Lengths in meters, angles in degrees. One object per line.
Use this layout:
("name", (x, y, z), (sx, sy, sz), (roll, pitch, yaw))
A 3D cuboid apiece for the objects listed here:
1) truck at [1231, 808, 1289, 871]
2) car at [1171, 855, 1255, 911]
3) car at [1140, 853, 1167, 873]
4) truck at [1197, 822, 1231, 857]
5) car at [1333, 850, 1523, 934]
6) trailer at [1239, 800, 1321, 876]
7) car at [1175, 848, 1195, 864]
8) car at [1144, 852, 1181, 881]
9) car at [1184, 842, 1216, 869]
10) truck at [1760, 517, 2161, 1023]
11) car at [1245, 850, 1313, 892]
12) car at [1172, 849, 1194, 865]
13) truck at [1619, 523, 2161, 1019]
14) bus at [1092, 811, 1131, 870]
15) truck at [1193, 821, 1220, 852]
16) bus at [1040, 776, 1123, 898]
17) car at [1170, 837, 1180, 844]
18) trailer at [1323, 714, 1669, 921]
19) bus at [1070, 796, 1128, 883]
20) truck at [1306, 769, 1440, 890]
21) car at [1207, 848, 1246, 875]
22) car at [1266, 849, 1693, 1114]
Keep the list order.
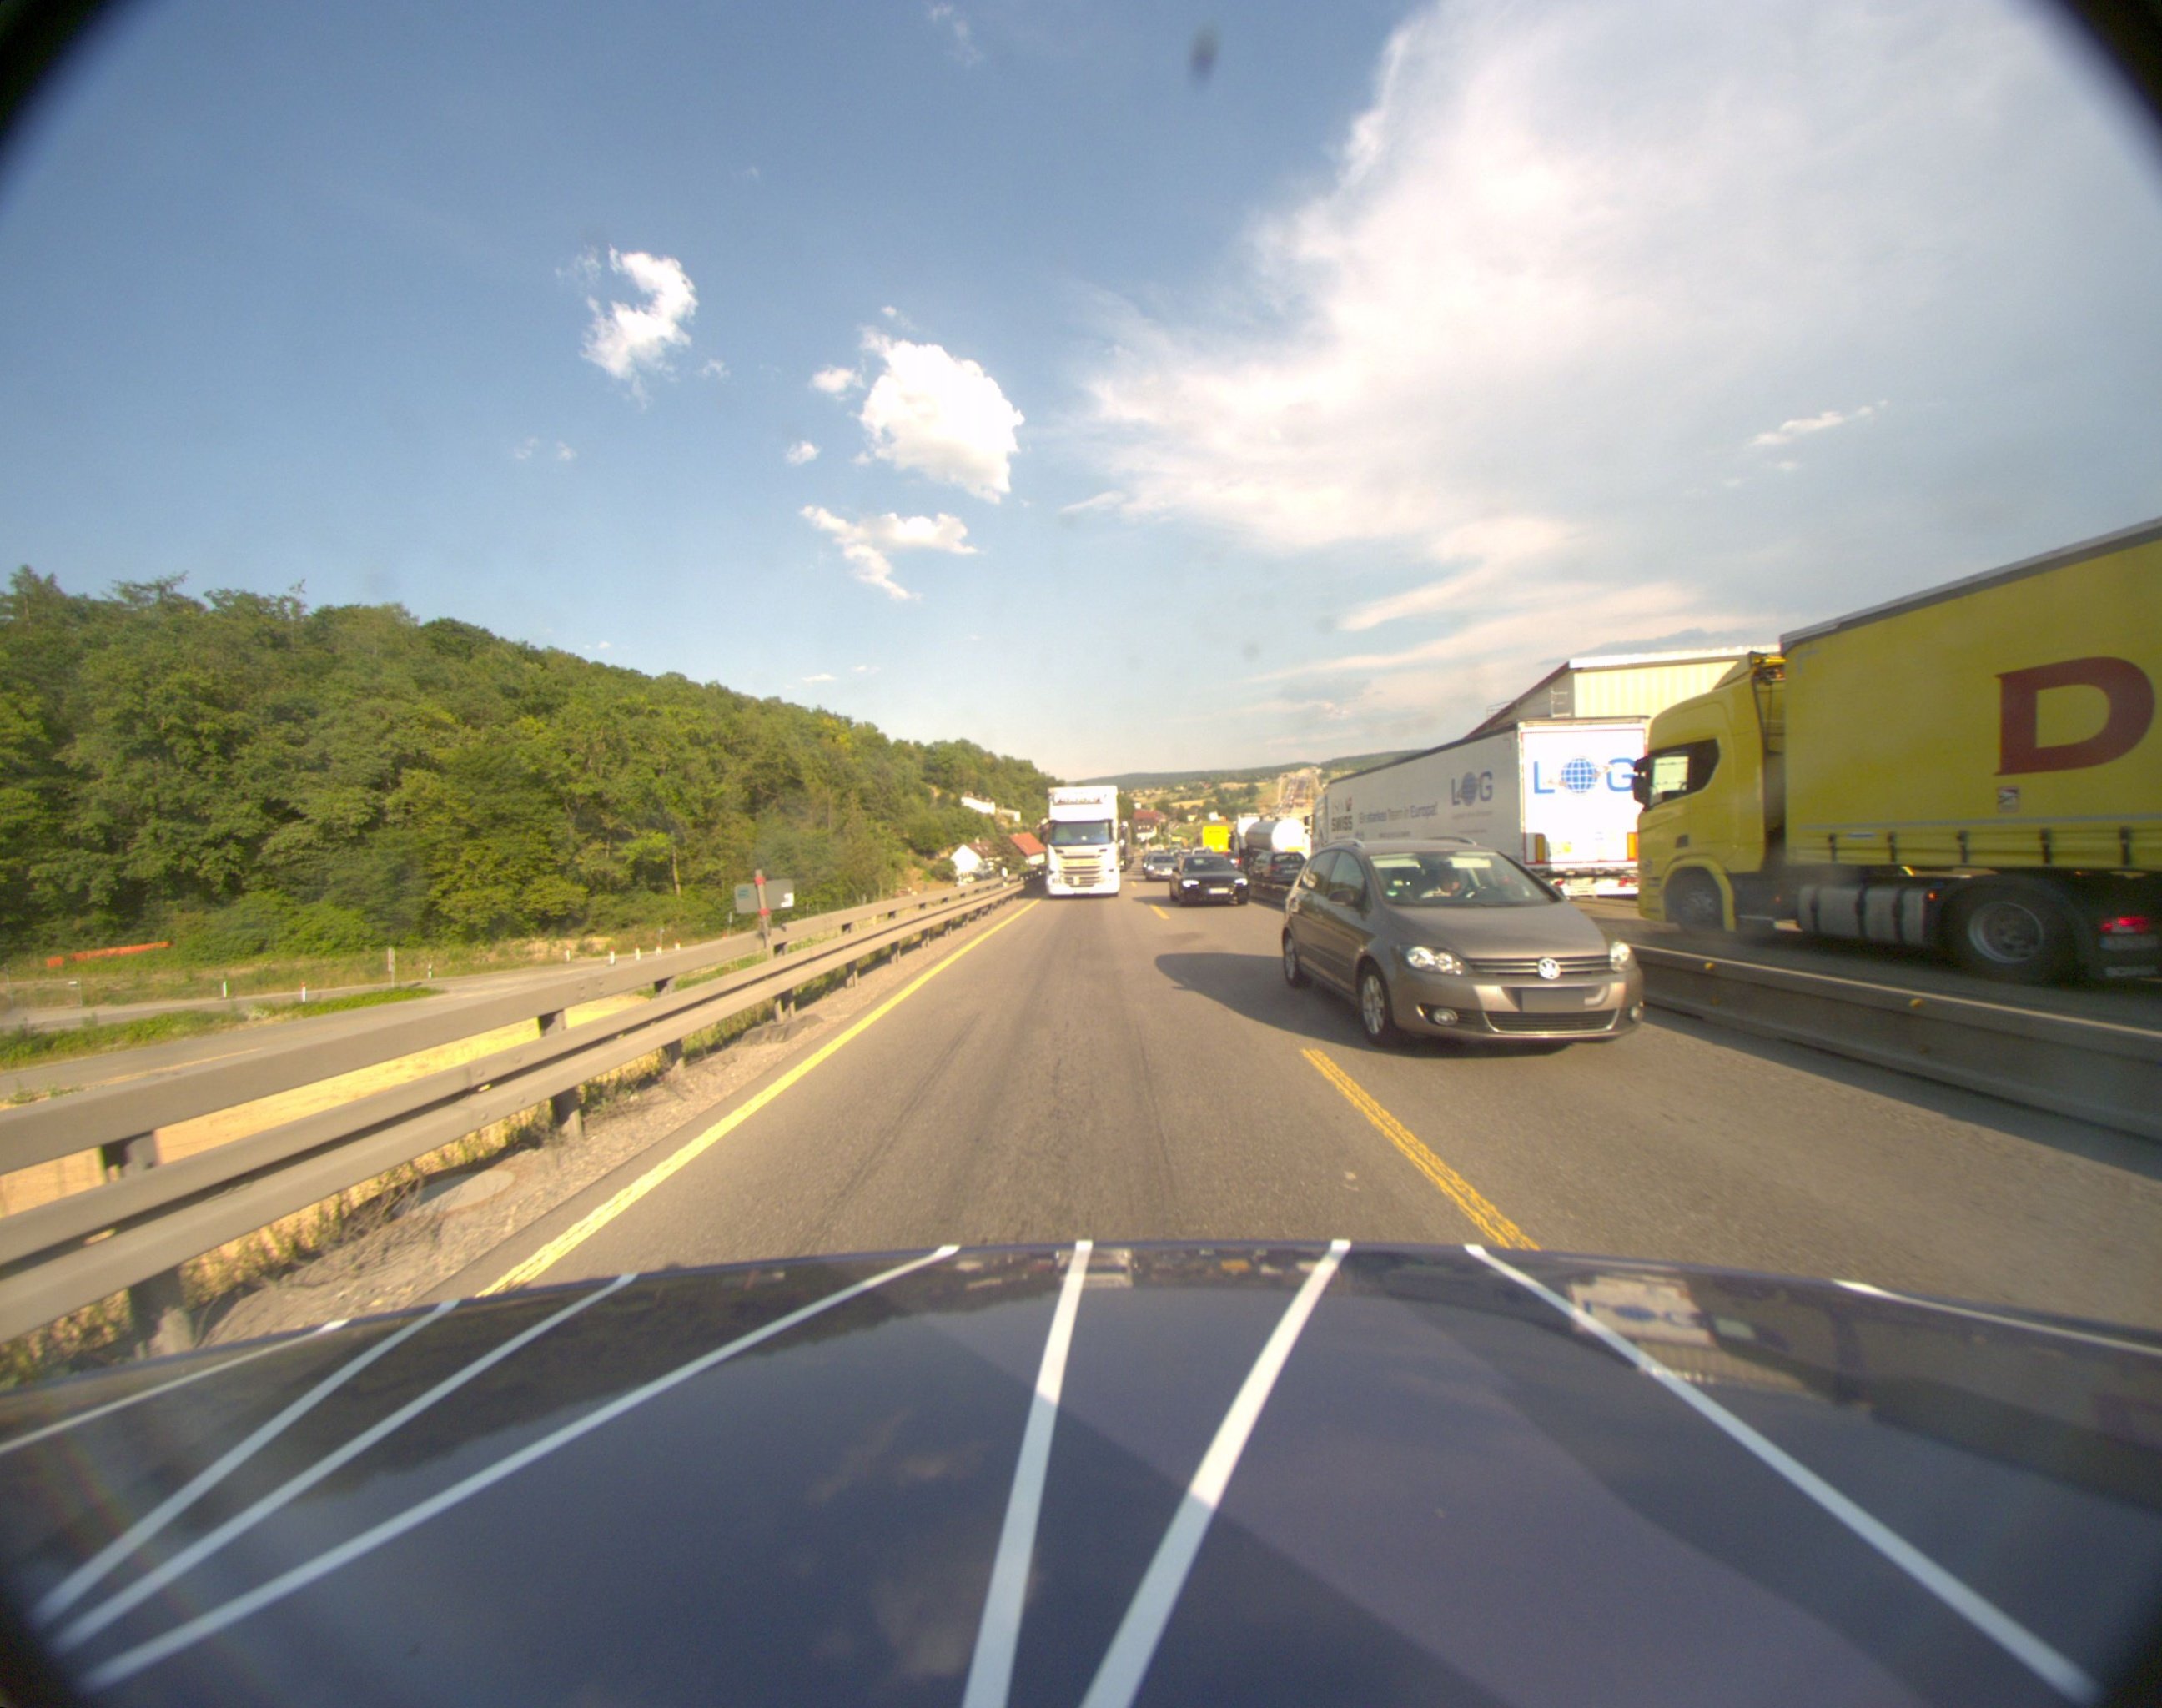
("truck", (11.812, -0.942, 50.637), (2.605, 3.865, 6.203), (-1, 1, 3))
("car", (3.692, 0.756, 21.928), (1.867, 1.391, 4.000), (-1, 1, 2))
("car", (4.945, 0.609, 52.493), (1.627, 1.239, 4.000), (-2, 1, 3))
("truck", (15.009, -1.606, 86.283), (2.899, 3.689, 9.491), (-1, 1, 5))
("car", (6.921, 0.663, 15.785), (1.812, 1.417, 4.673), (-2, 0, 1))
("trailer", (11.487, -0.886, 44.908), (2.603, 3.858, 10.578), (-1, 1, 3))
("car", (10.777, 0.204, 78.958), (1.729, 1.521, 4.000), (-2, 1, 3))
("car", (4.329, 0.626, 40.635), (1.698, 1.390, 4.001), (-3, 0, 3))
("car", (8.713, 0.087, 56.049), (1.867, 1.899, 4.000), (-1, 1, 2))
("truck", (10.033, -0.659, 2.677), (2.714, 4.064, 14.152), (-1, 1, 0))
("car", (7.589, 0.590, 29.512), (1.660, 1.421, 4.565), (-2, 1, 3))
("car", (9.383, 0.256, 70.186), (1.798, 1.405, 4.001), (1, 1, 5))
("truck", (10.082, -0.721, 9.284), (2.720, 4.064, 6.100), (-1, 1, 0))
("bus", (2.794, -1.074, 65.998), (2.984, 4.553, 10.906), (-2, 0, 4))
("truck", (16.766, -2.345, 102.162), (2.899, 3.861, 9.491), (-1, 1, 5))
("bus", (0.324, -0.635, 31.289), (2.634, 4.077, 11.315), (-1, 1, 4))
("car", (26.334, -3.784, 212.705), (1.822, 1.987, 4.754), (1, -1, -2))
("trailer", (10.442, -0.786, 22.012), (2.864, 4.012, 13.971), (-1, 1, 2))
("bus", (1.259, -0.755, 45.371), (2.984, 4.553, 9.969), (-2, 0, 3))
("truck", (10.719, -0.848, 28.632), (2.850, 4.012, 6.101), (-1, 1, 2))
("car", (8.509, 0.397, 44.713), (1.661, 1.501, 3.690), (-2, 0, 3))
("car", (2.942, 0.774, 6.713), (1.688, 1.565, 4.099), (-2, 1, 2))
